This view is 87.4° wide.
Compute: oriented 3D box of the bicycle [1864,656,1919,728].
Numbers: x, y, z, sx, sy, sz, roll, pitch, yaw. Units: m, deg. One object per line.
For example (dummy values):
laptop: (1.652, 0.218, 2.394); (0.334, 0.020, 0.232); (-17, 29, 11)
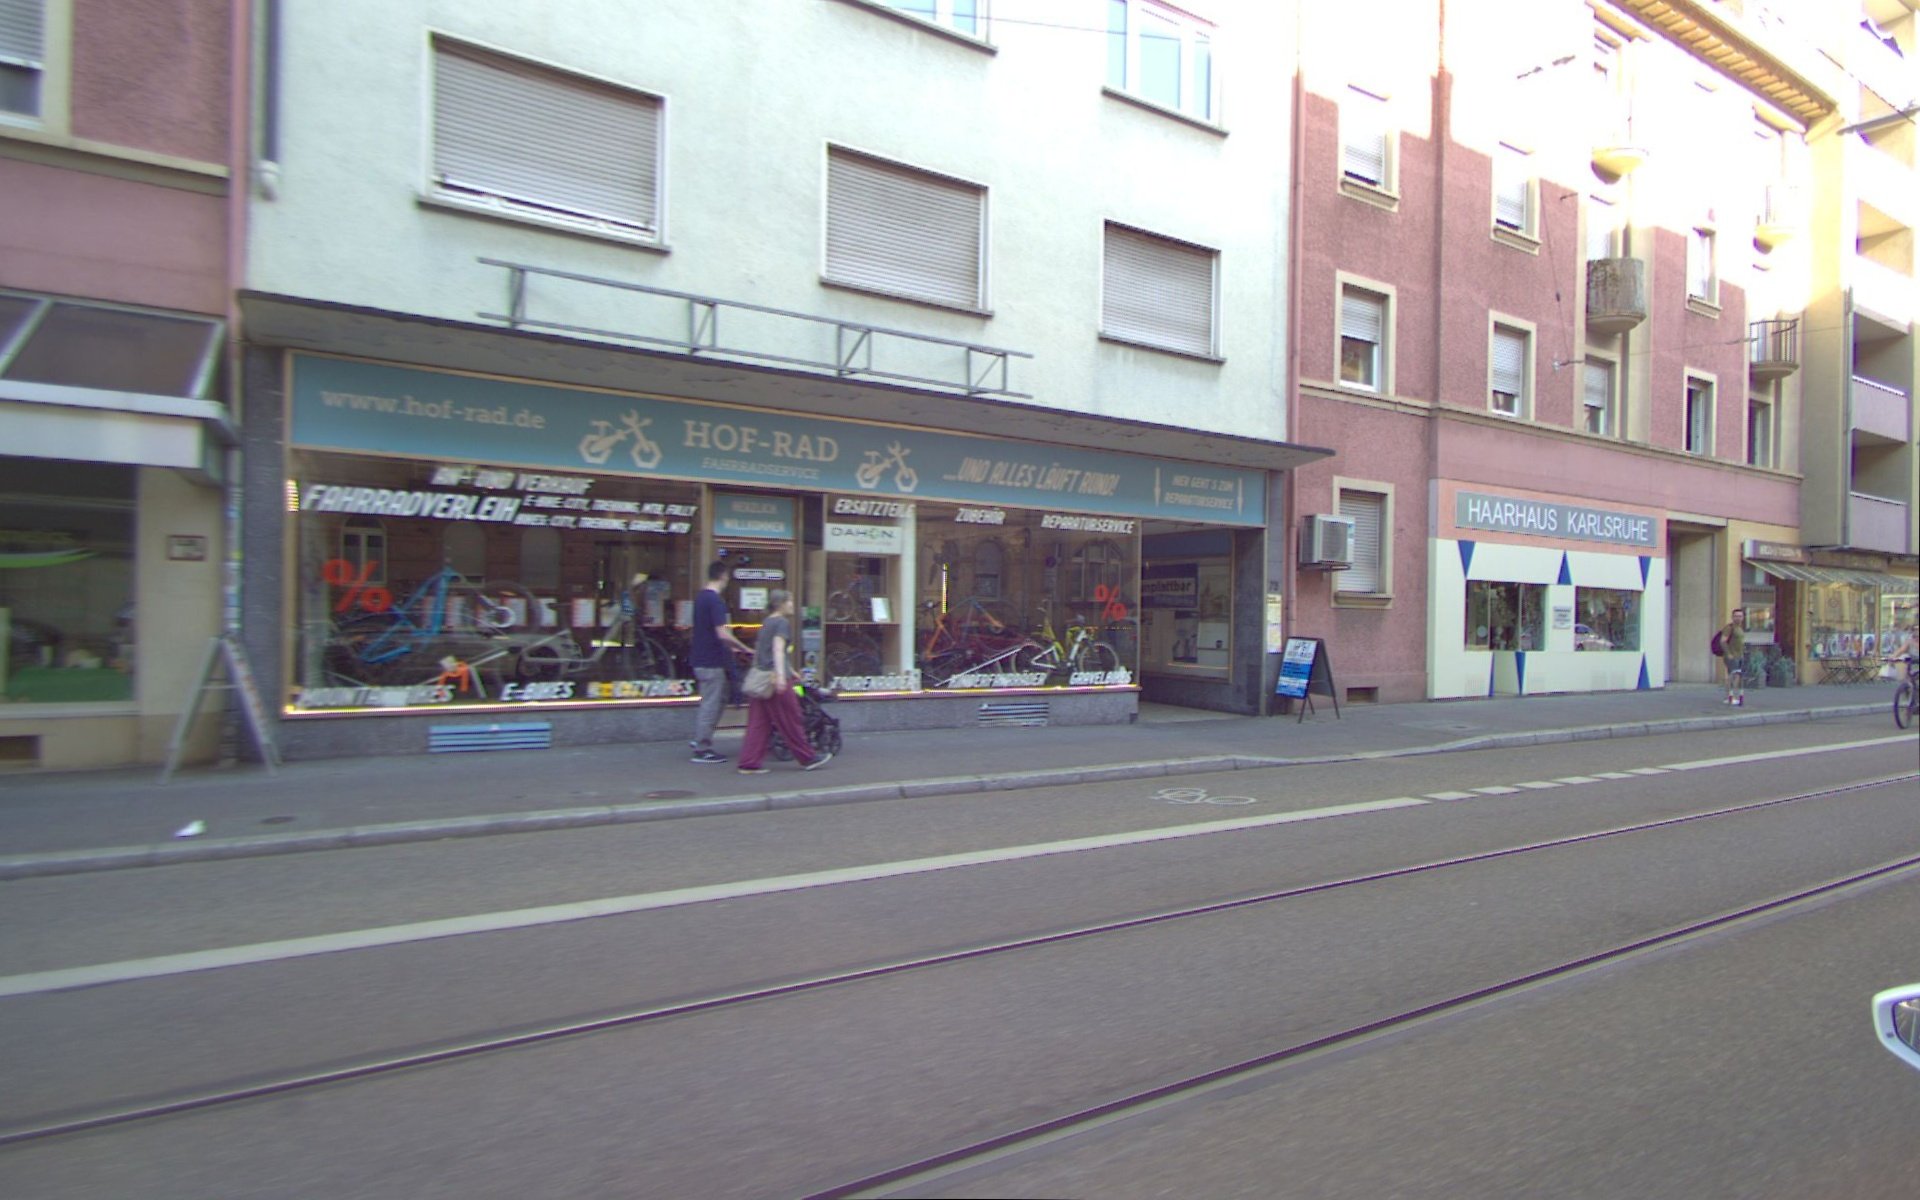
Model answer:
bicycle: (15.488, 1.460, 16.313); (2.020, 1.110, 0.599); (2, -3, -31)

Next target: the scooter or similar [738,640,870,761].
scooter or similar: (-1.513, 0.941, 9.751); (1.092, 1.075, 0.658); (1, 0, -30)

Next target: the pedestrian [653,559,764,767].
pedestrian: (-2.314, 0.558, 9.229); (0.811, 1.813, 0.622); (2, 0, -31)

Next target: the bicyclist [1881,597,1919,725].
bicyclist: (15.512, 0.976, 16.309); (0.725, 2.040, 0.609); (2, 0, -30)

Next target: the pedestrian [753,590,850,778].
pedestrian: (-1.396, 0.704, 8.803); (0.616, 1.569, 0.632); (2, 0, -31)

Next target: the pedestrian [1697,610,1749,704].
pedestrian: (14.315, 1.056, 18.848); (0.609, 1.708, 0.560); (2, 0, -32)
